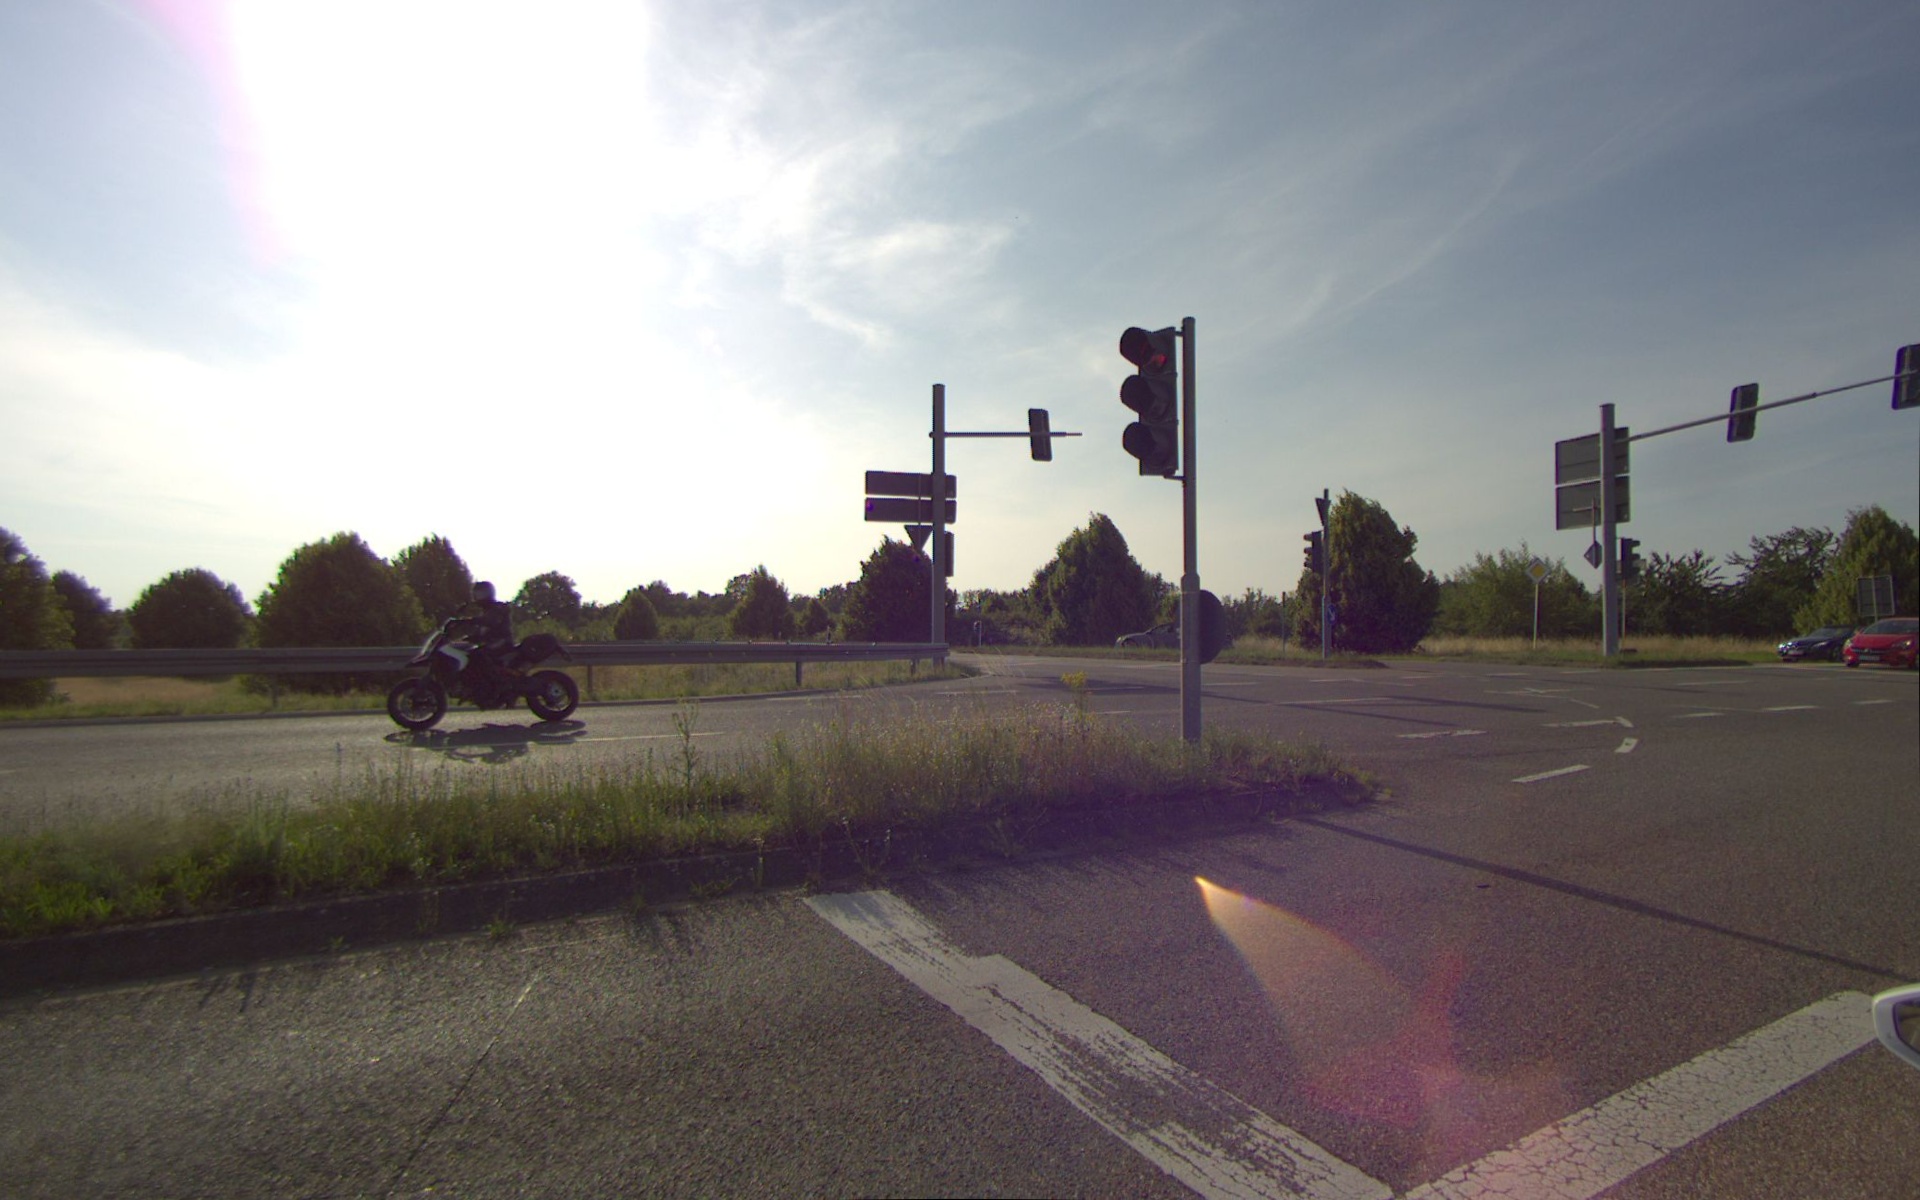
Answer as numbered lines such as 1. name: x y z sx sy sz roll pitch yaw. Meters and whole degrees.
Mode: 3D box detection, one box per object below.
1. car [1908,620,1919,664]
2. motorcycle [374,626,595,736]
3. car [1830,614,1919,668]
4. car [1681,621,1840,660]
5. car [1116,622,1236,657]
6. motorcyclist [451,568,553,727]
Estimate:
1. car: 33.671 1.418 33.422 3.997 1.452 1.780 1 -1 -26
2. motorcycle: -5.535 0.893 11.778 2.156 1.139 0.928 1 0 -44
3. car: 27.813 1.208 29.767 3.752 1.508 1.716 1 -1 -25
4. car: 28.303 1.416 35.566 4.577 1.299 1.724 1 -1 -8
5. car: 8.750 1.583 40.893 4.592 1.309 1.438 0 -1 32
6. motorcyclist: -5.391 0.532 11.818 0.826 1.781 0.895 1 0 -43
